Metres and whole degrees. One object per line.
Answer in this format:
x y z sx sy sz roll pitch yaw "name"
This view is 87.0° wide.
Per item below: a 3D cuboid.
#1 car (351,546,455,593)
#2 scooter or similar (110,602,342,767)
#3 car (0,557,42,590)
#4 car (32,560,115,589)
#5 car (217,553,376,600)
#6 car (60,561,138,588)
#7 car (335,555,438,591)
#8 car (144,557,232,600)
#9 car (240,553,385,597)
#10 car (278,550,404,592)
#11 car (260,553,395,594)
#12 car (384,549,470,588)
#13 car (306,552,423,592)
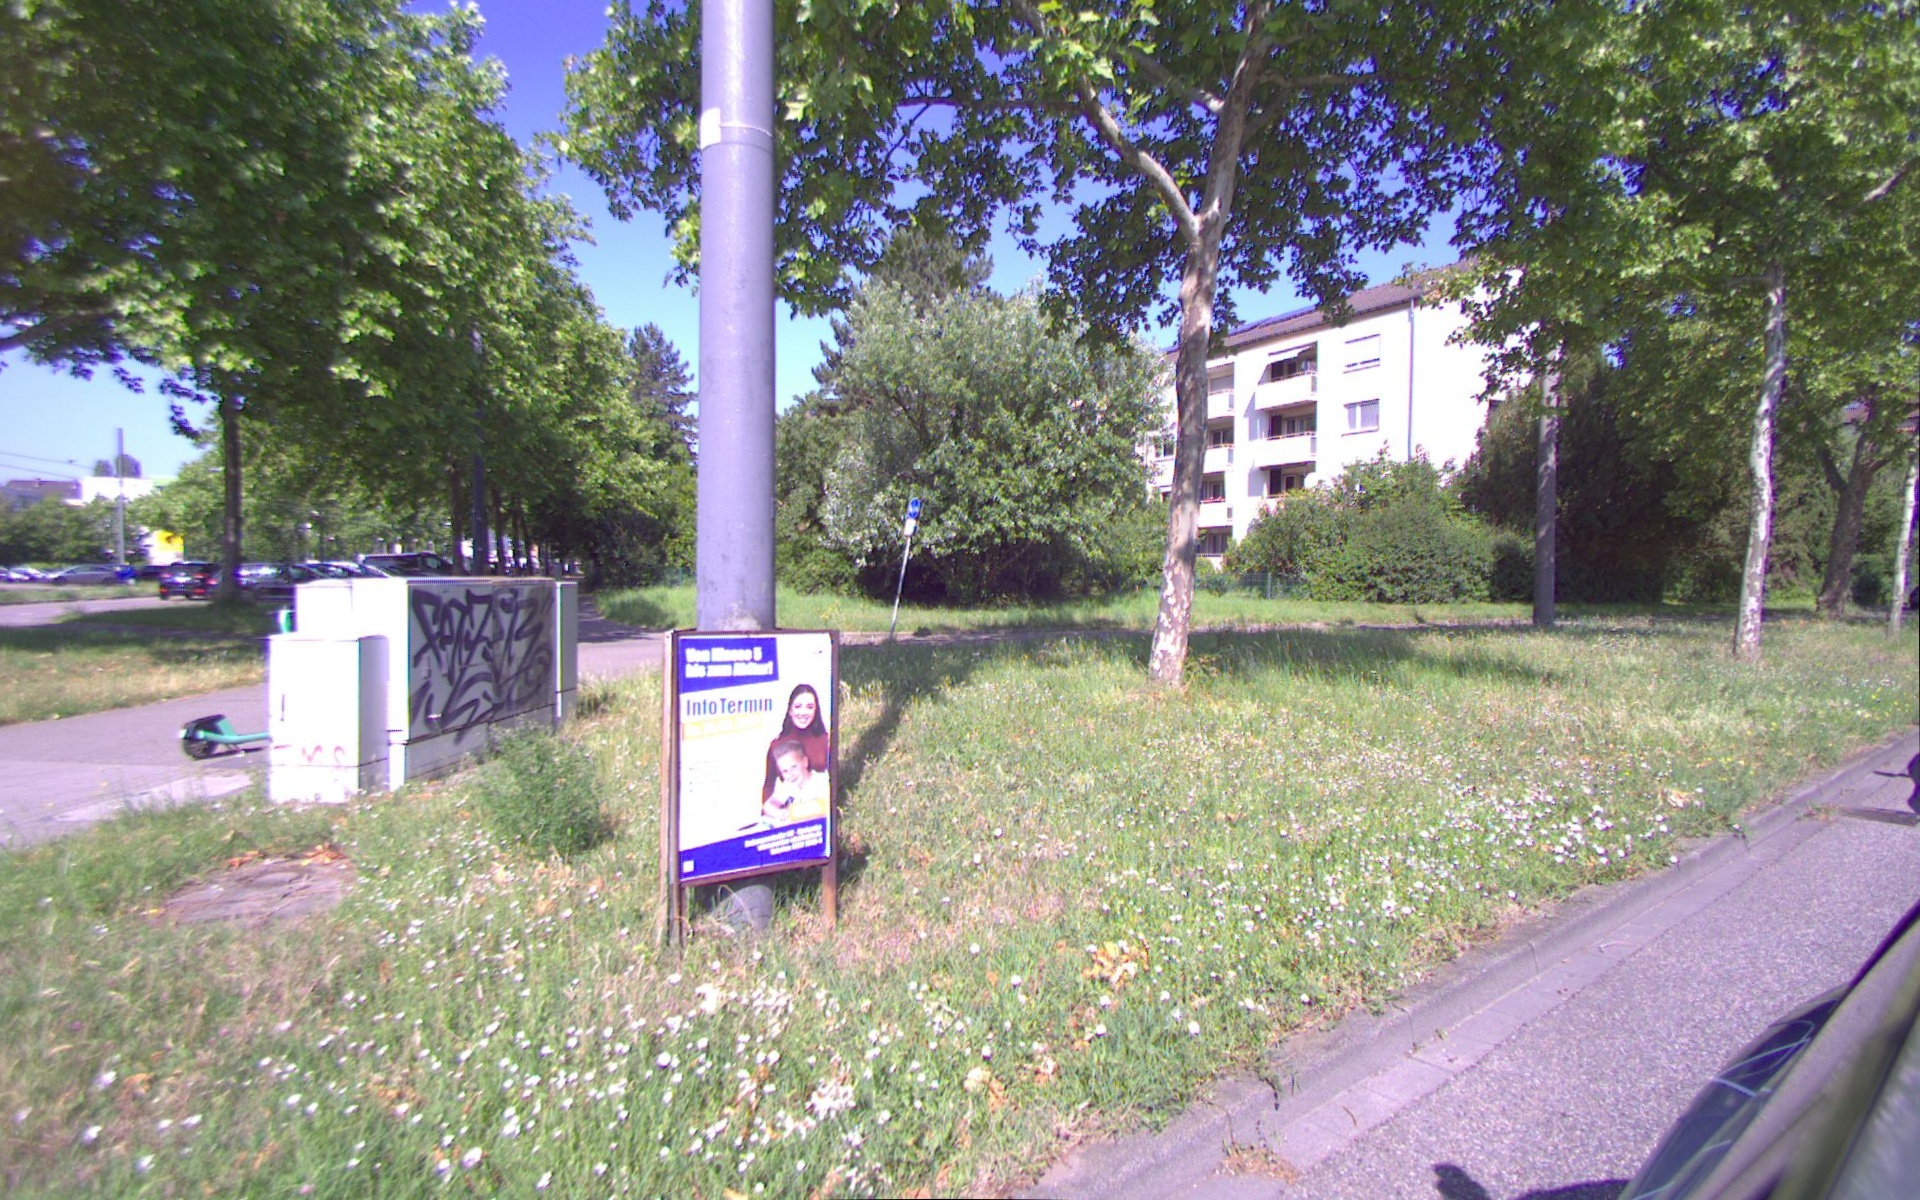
-28.585 -1.551 52.151 4.494 2.318 2.004 0 2 -23 "car"
-5.853 0.621 8.157 0.511 1.155 1.435 -1 2 23 "scooter or similar"
-54.689 -1.496 57.215 1.992 1.816 3.940 0 1 42 "car"
-58.936 -1.676 67.324 1.992 1.816 3.940 0 1 42 "car"
-22.158 -0.809 34.019 4.267 1.509 2.003 -1 2 -28 "car"
-59.986 -1.772 70.575 1.992 1.816 3.940 0 1 42 "car"
-27.762 -1.319 49.169 4.267 1.653 2.003 0 2 -28 "car"
-31.502 -0.857 41.426 1.756 1.676 4.008 0 1 -20 "car"
-23.256 -0.912 36.555 4.267 1.509 2.003 0 2 -28 "car"
-25.252 -1.162 41.464 4.267 1.653 2.003 0 0 -28 "car"
-24.261 -1.016 39.025 4.267 1.509 2.003 0 2 -28 "car"
-31.793 -1.871 60.446 4.497 2.236 2.003 0 2 -28 "car"
-25.767 -1.220 43.978 4.267 1.653 2.003 0 2 -28 "car"
